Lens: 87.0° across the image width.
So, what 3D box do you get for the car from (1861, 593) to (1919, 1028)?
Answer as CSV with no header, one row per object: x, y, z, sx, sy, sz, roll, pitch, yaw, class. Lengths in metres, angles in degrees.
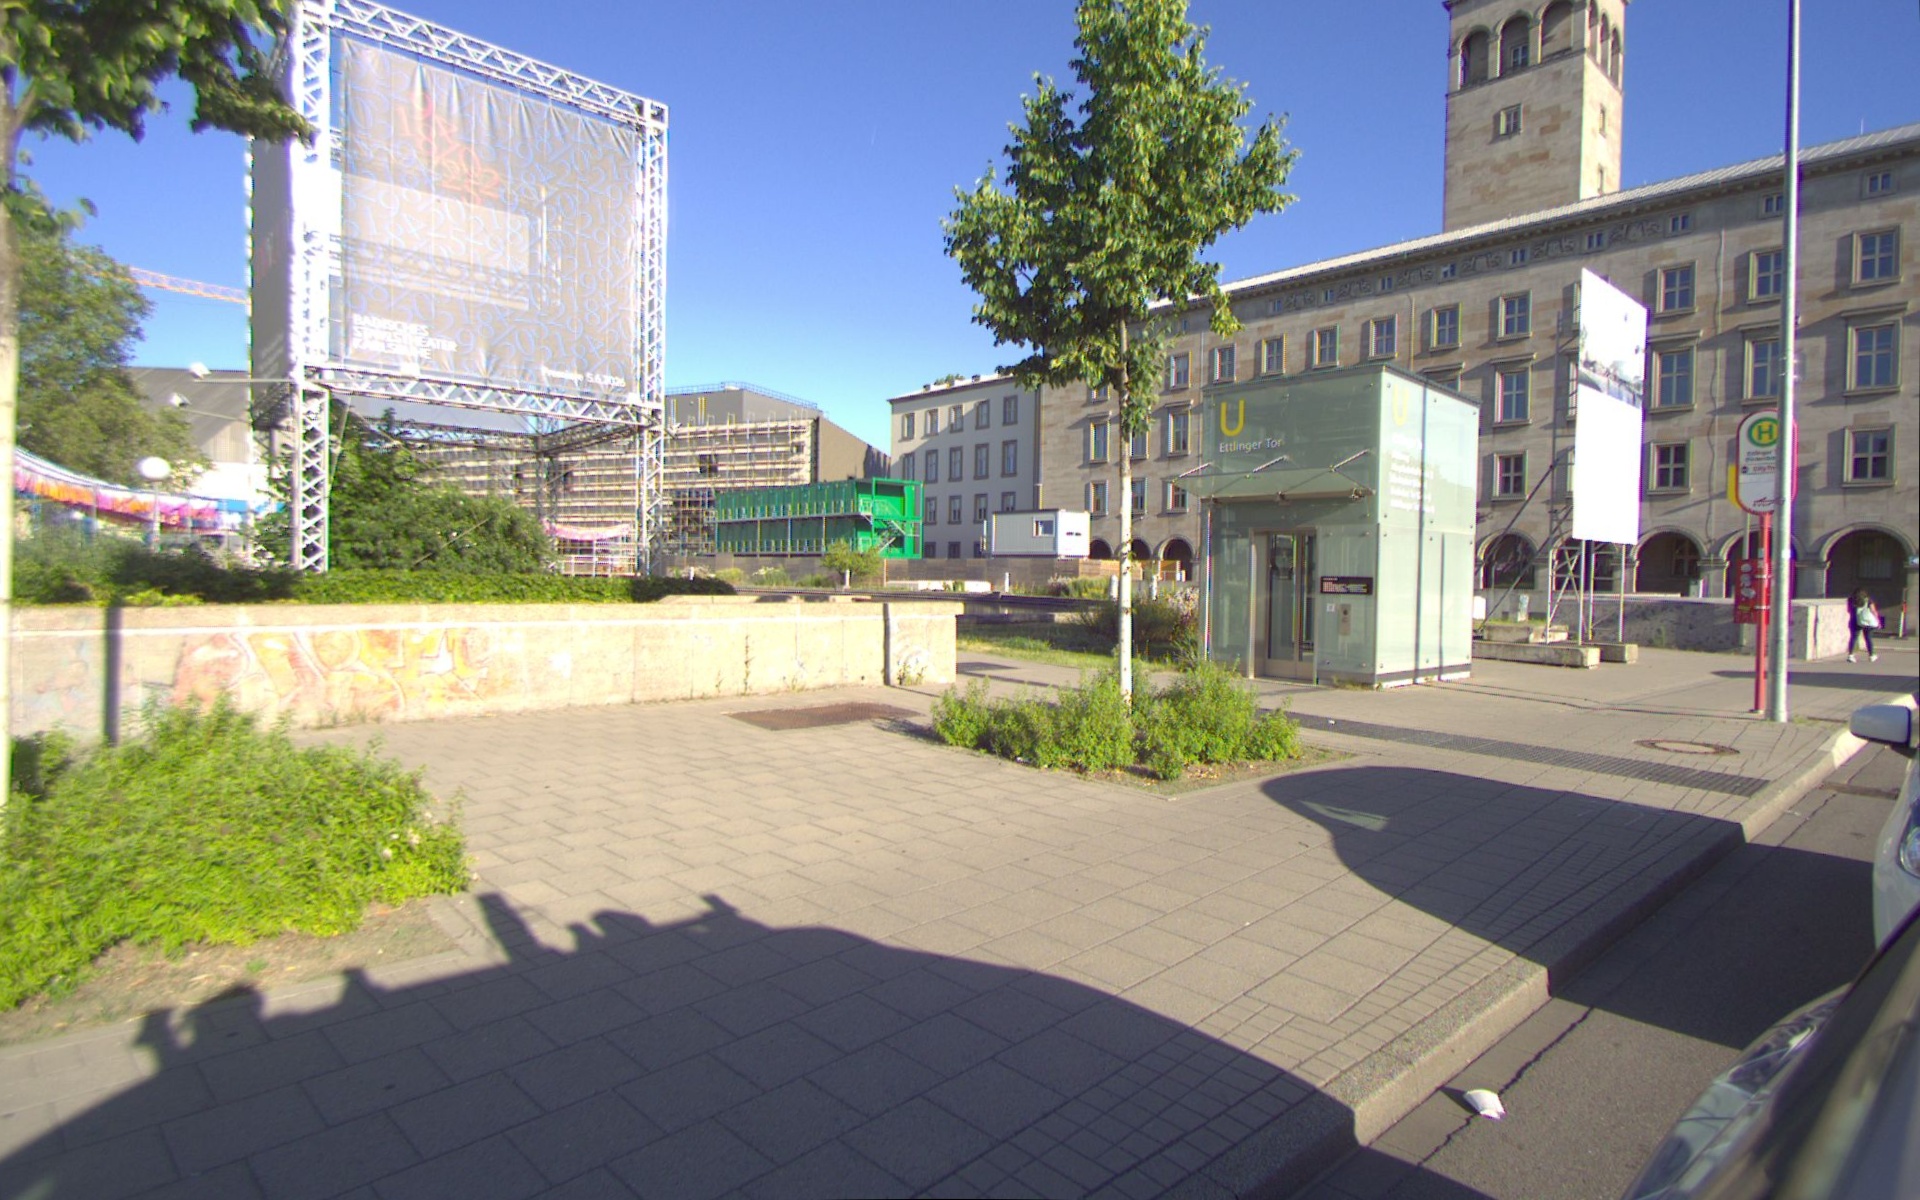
5.170,0.710,4.012,3.817,1.467,1.679,0,0,-37,car

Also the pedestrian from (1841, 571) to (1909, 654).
20.493,0.278,22.675,1.053,1.810,0.941,0,-2,-41,pedestrian
